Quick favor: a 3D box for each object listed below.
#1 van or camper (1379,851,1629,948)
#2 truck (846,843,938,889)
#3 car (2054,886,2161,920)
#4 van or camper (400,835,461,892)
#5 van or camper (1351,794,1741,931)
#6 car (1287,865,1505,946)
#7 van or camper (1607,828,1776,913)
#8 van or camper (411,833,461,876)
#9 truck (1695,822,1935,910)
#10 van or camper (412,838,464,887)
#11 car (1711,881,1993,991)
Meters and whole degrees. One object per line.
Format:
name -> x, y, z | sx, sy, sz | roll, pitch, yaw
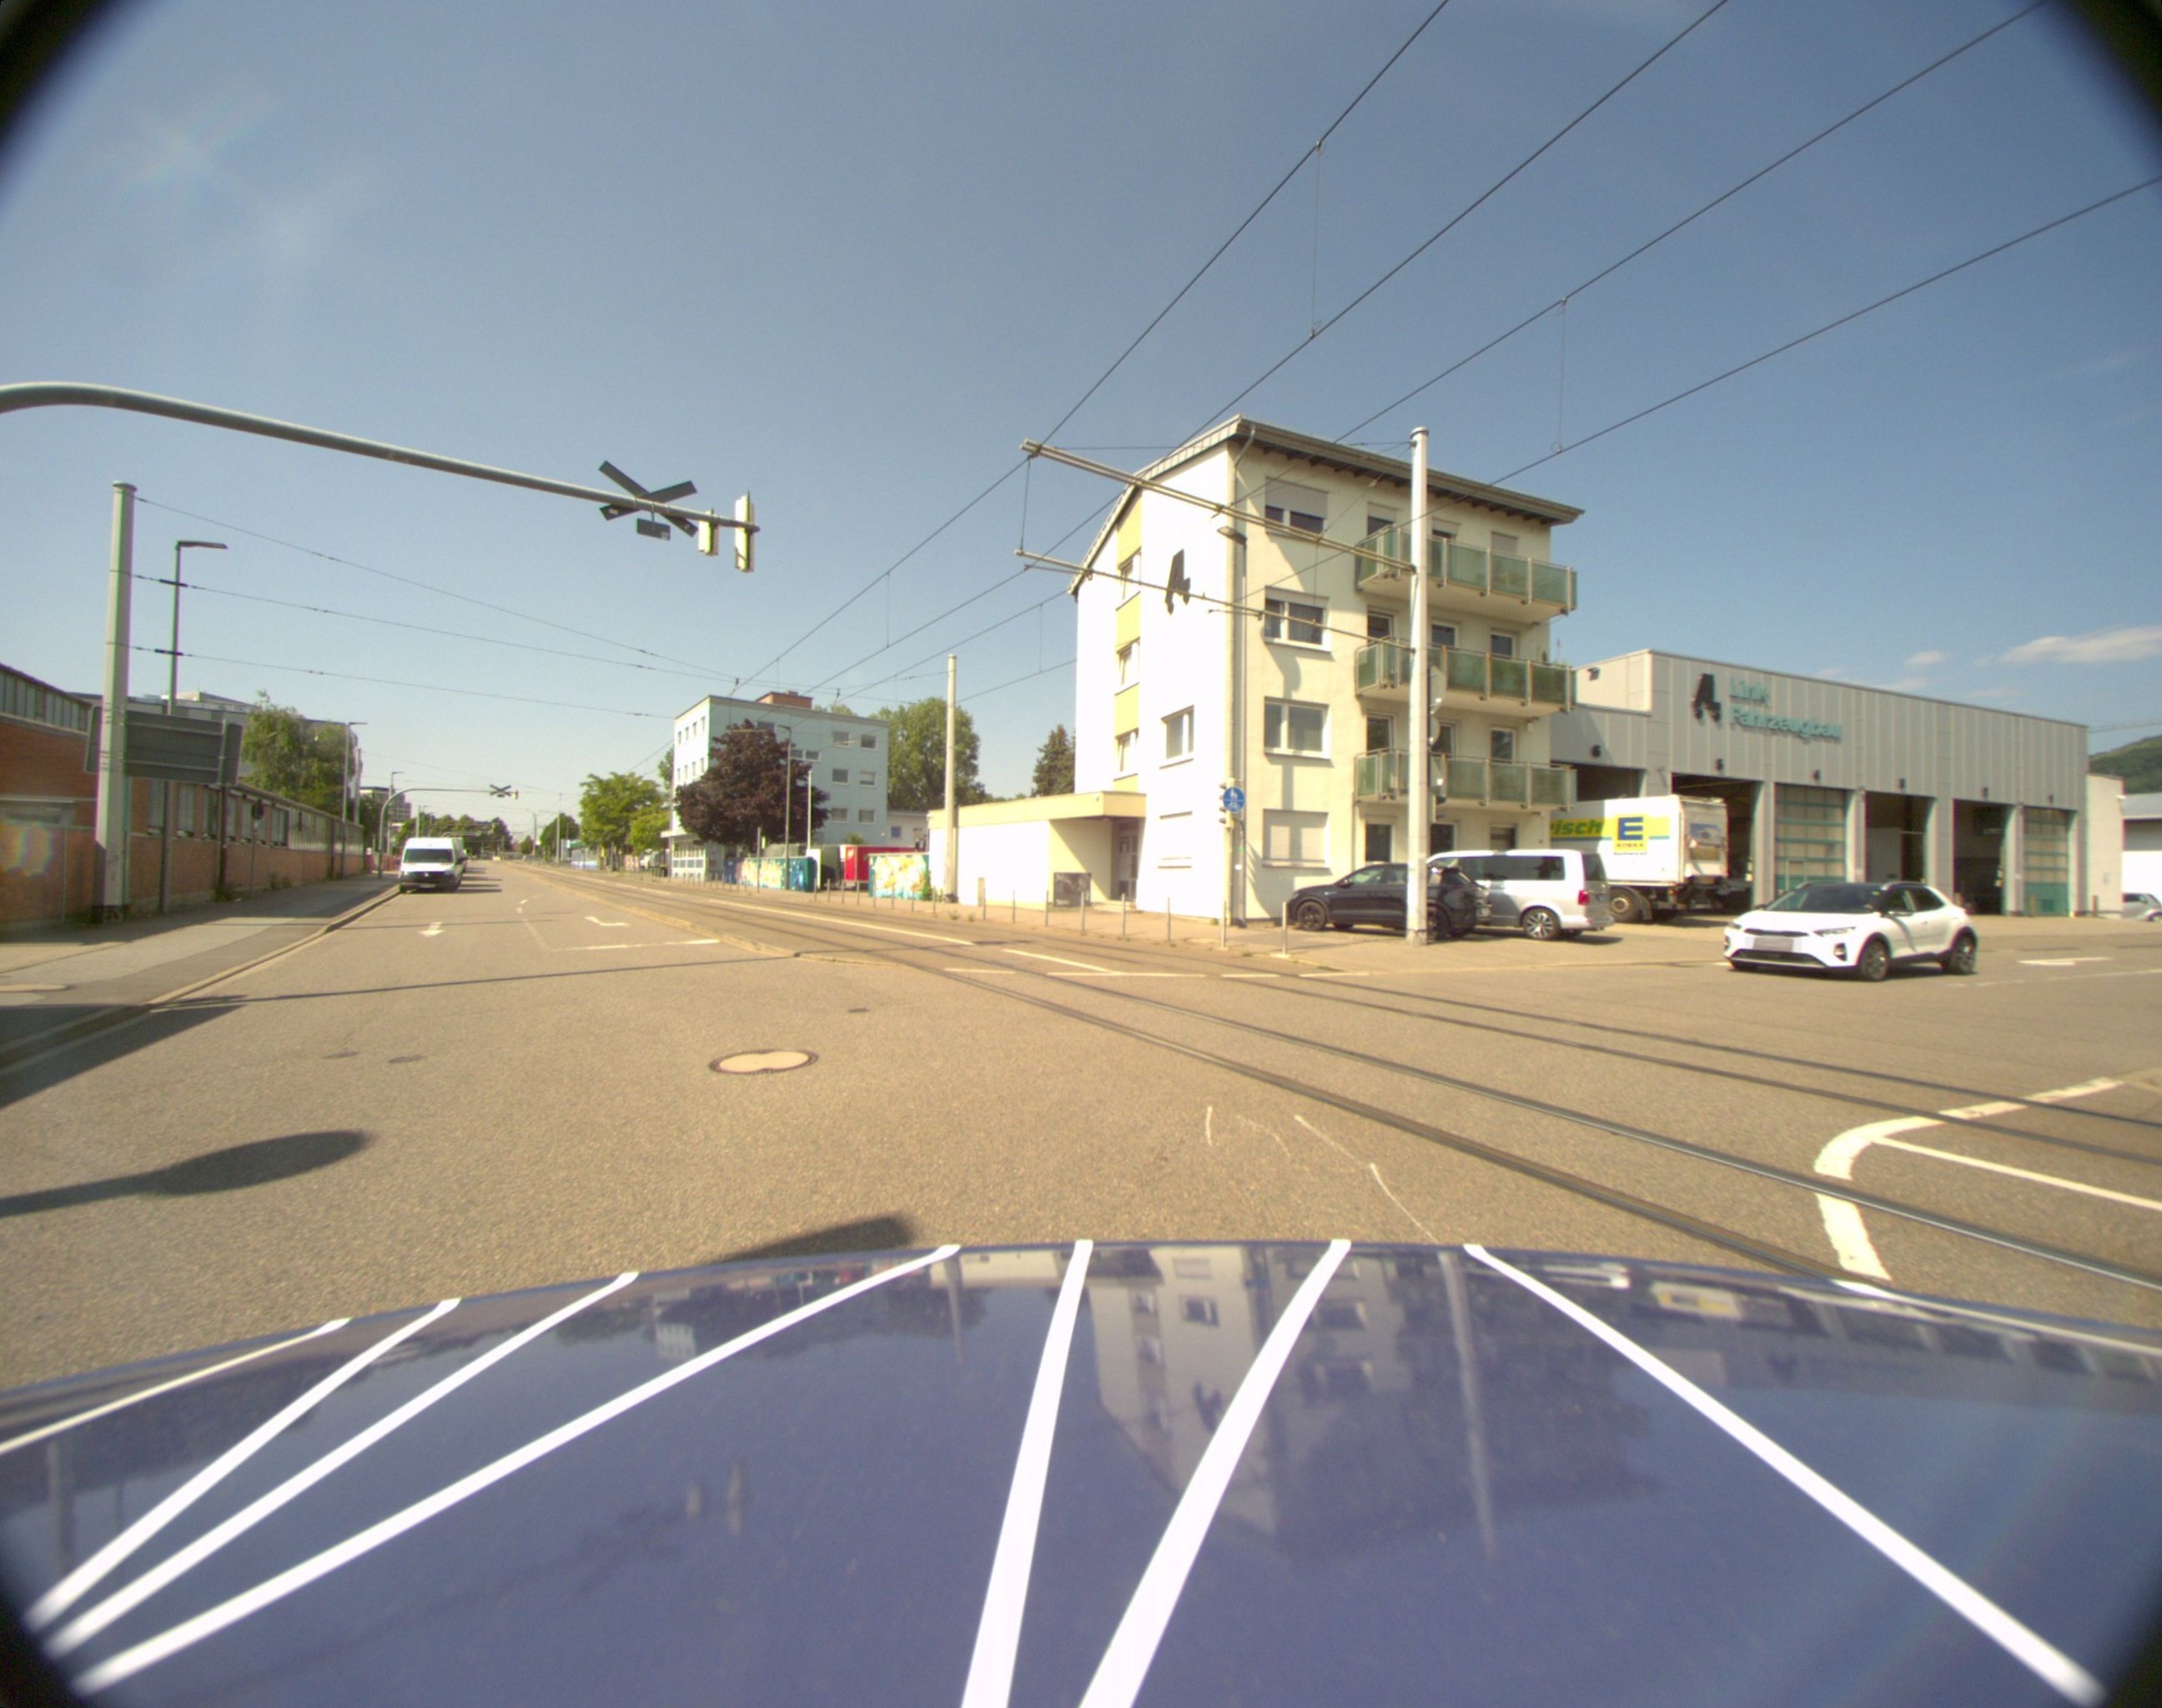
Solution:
van or camper -> 9.490, 0.917, 17.374 | 2.004, 1.896, 4.543 | 2, -1, -41
truck -> -11.128, 0.723, 44.831 | 4.843, 2.611, 2.184 | 1, 0, -33
car -> 49.418, 2.347, 36.607 | 2.816, 1.524, 1.315 | 1, -2, 23
van or camper -> -31.104, 0.454, 36.463 | 2.048, 2.519, 5.852 | 1, -1, -39
van or camper -> 14.796, 0.274, 26.070 | 2.785, 3.671, 11.612 | 1, -1, -27
car -> 6.752, 1.027, 16.549 | 3.962, 1.512, 1.884 | 0, -1, 45
van or camper -> 24.743, 0.665, 31.064 | 2.002, 3.186, 5.050 | 1, -1, -22
van or camper -> -45.365, 0.059, 53.519 | 2.530, 2.770, 7.096 | 1, -1, -40
truck -> 34.609, 0.549, 36.350 | 2.627, 3.759, 7.848 | 1, 0, -20
van or camper -> -35.754, 0.470, 42.360 | 2.049, 2.519, 5.566 | 1, -1, -39
car -> 12.526, 1.222, 12.354 | 4.114, 1.521, 1.734 | 1, 0, -21
